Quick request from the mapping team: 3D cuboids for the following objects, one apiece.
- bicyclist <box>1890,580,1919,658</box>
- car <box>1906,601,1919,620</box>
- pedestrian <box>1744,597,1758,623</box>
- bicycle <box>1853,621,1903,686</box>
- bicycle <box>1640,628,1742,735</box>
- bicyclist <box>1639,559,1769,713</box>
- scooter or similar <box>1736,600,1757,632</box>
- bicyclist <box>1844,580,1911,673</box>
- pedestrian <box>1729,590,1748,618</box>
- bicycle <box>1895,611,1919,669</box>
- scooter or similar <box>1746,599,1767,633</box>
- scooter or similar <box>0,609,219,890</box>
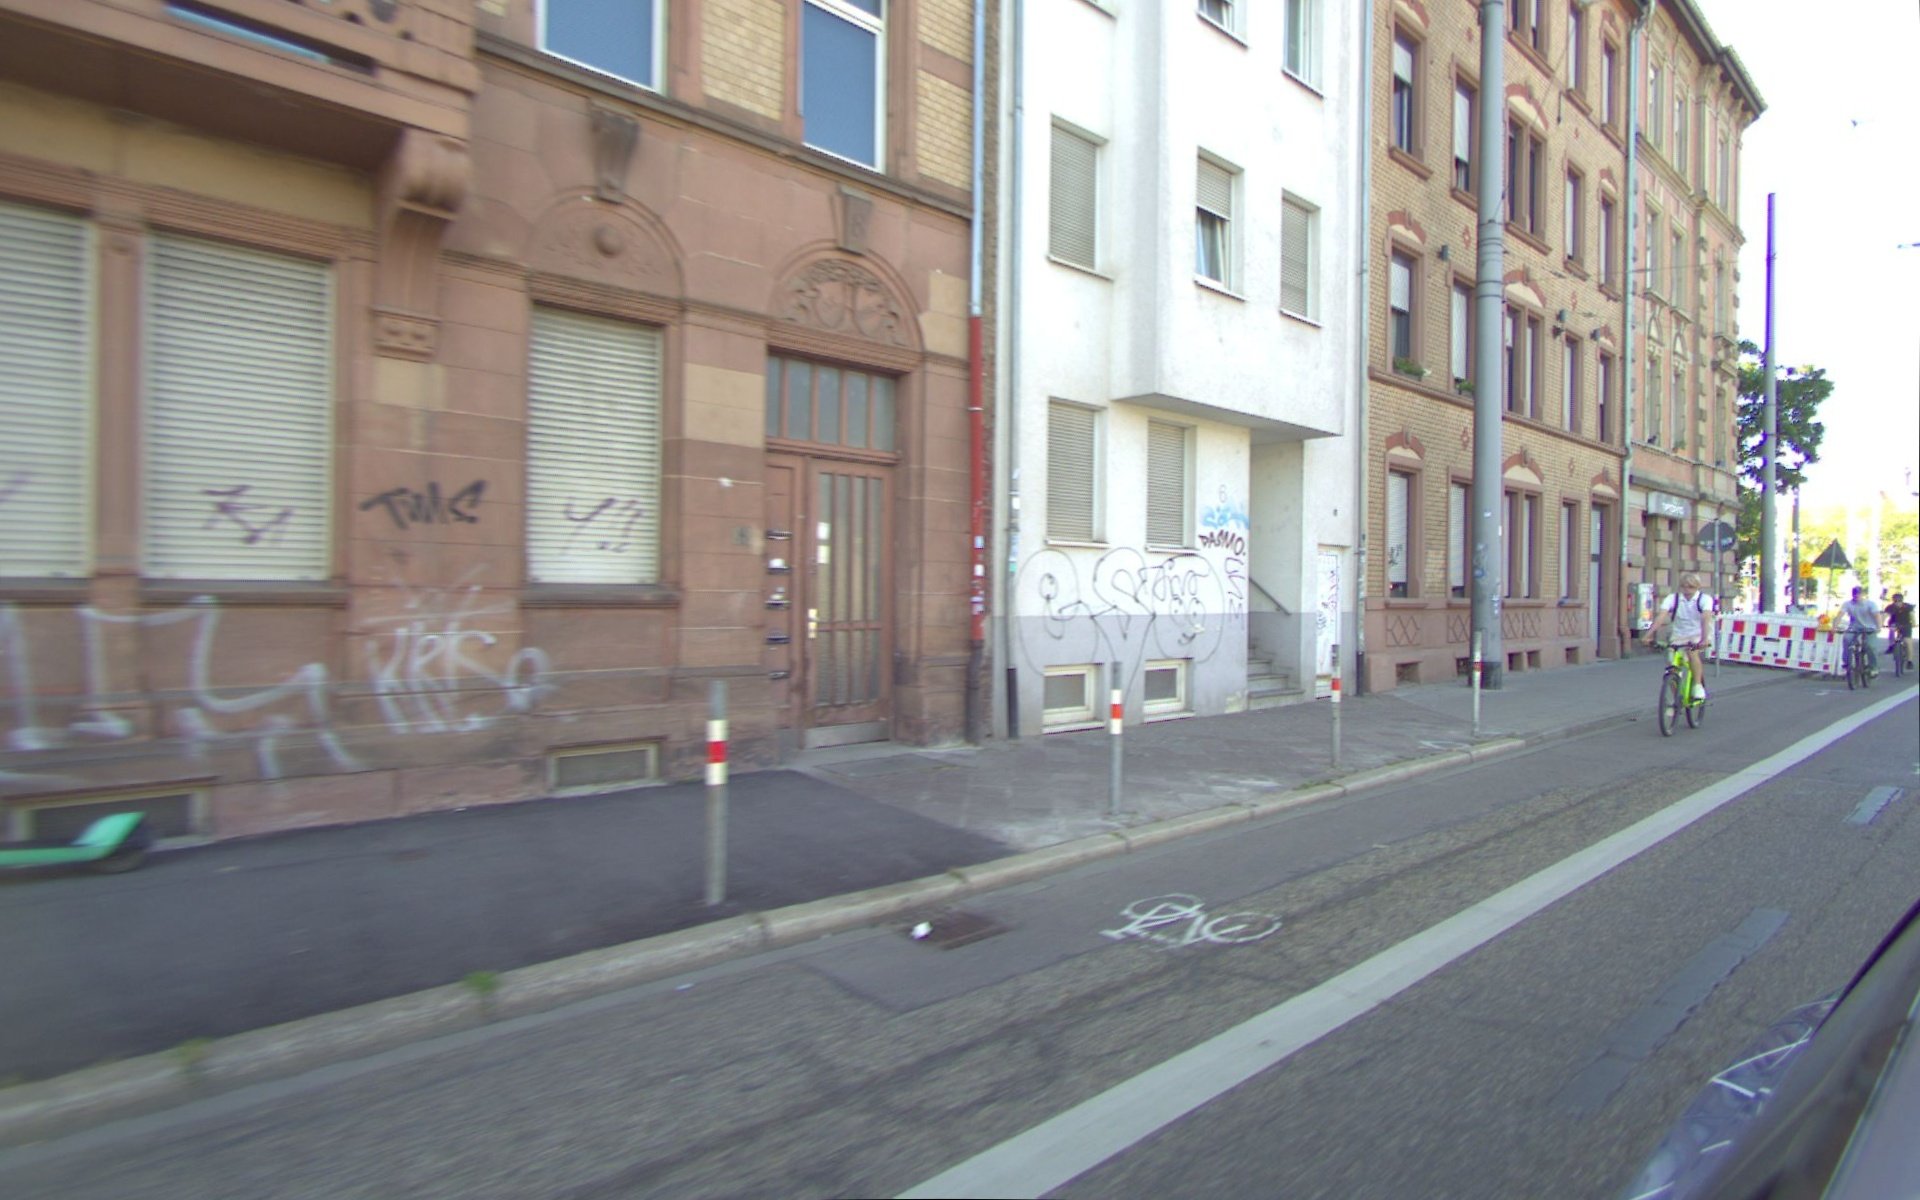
[{"bbox_3d":[20.344,0.395,21.562,0.621,1.634,0.968,-2,-1,36],"label":"bicyclist"},{"bbox_3d":[82.503,0.877,86.425,1.875,1.586,3.962,-2,-1,35],"label":"car"},{"bbox_3d":[55.265,0.692,70.711,0.810,1.779,0.659,0,-1,-45],"label":"pedestrian"},{"bbox_3d":[16.486,0.933,18.158,1.899,1.082,0.387,0,0,-39],"label":"bicycle"},{"bbox_3d":[8.575,0.912,11.849,1.900,1.132,0.532,0,-2,-41],"label":"bicycle"},{"bbox_3d":[8.638,0.396,11.763,1.097,1.705,0.684,-1,-1,-21],"label":"bicyclist"},{"bbox_3d":[29.573,0.594,38.028,1.673,1.172,0.270,-1,-1,-41],"label":"scooter or similar"},{"bbox_3d":[16.471,0.456,18.169,0.870,1.613,0.784,0,0,-40],"label":"bicyclist"},{"bbox_3d":[55.689,0.268,72.381,1.032,1.954,0.931,0,-1,-45],"label":"pedestrian"},{"bbox_3d":[20.370,0.829,21.537,0.530,1.131,1.908,0,1,38],"label":"bicycle"},{"bbox_3d":[29.787,0.603,37.822,1.673,1.235,0.270,-1,-1,-41],"label":"scooter or similar"},{"bbox_3d":[-4.376,0.680,4.719,1.454,1.226,0.407,-1,2,-41],"label":"scooter or similar"}]
